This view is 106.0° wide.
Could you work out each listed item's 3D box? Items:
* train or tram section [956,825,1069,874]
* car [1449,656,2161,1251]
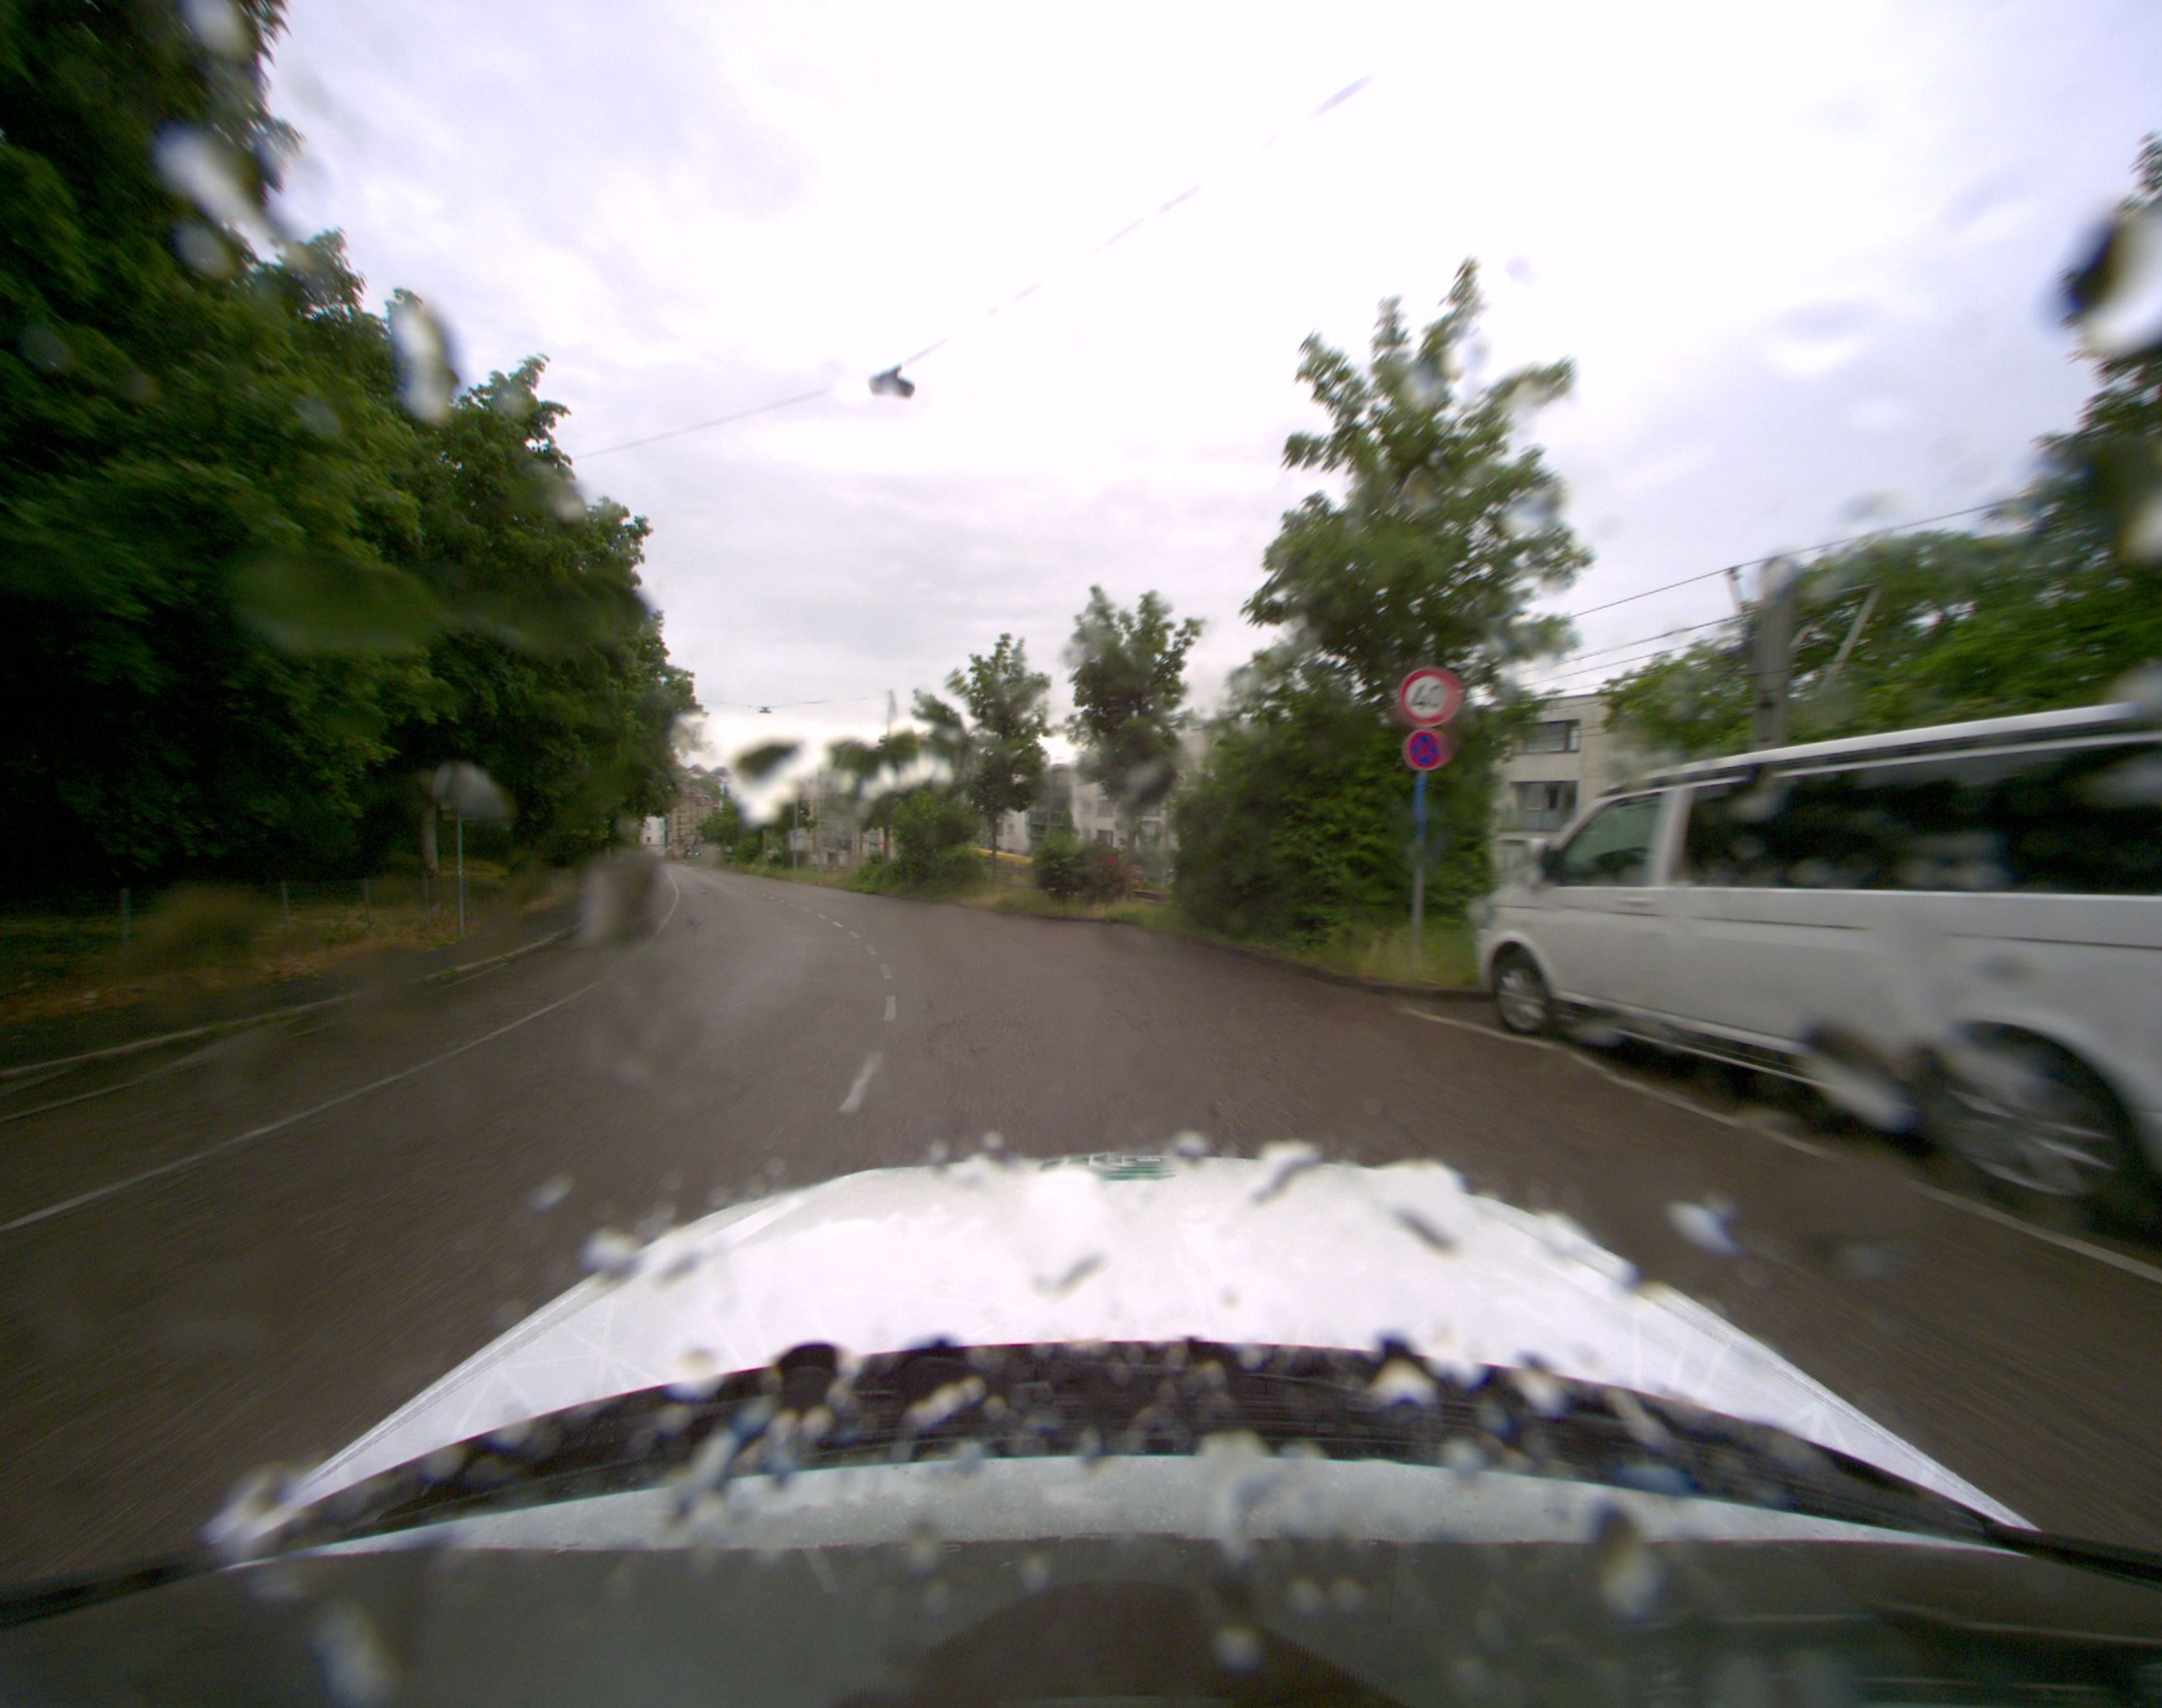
[{"bbox_3d":[-6.784,-0.291,73.858,3.349,3.947,19.111,0,0,-27],"label":"train or tram section"},{"bbox_3d":[4.357,0.321,4.707,1.875,2.013,4.680,-2,0,-7],"label":"car"}]
